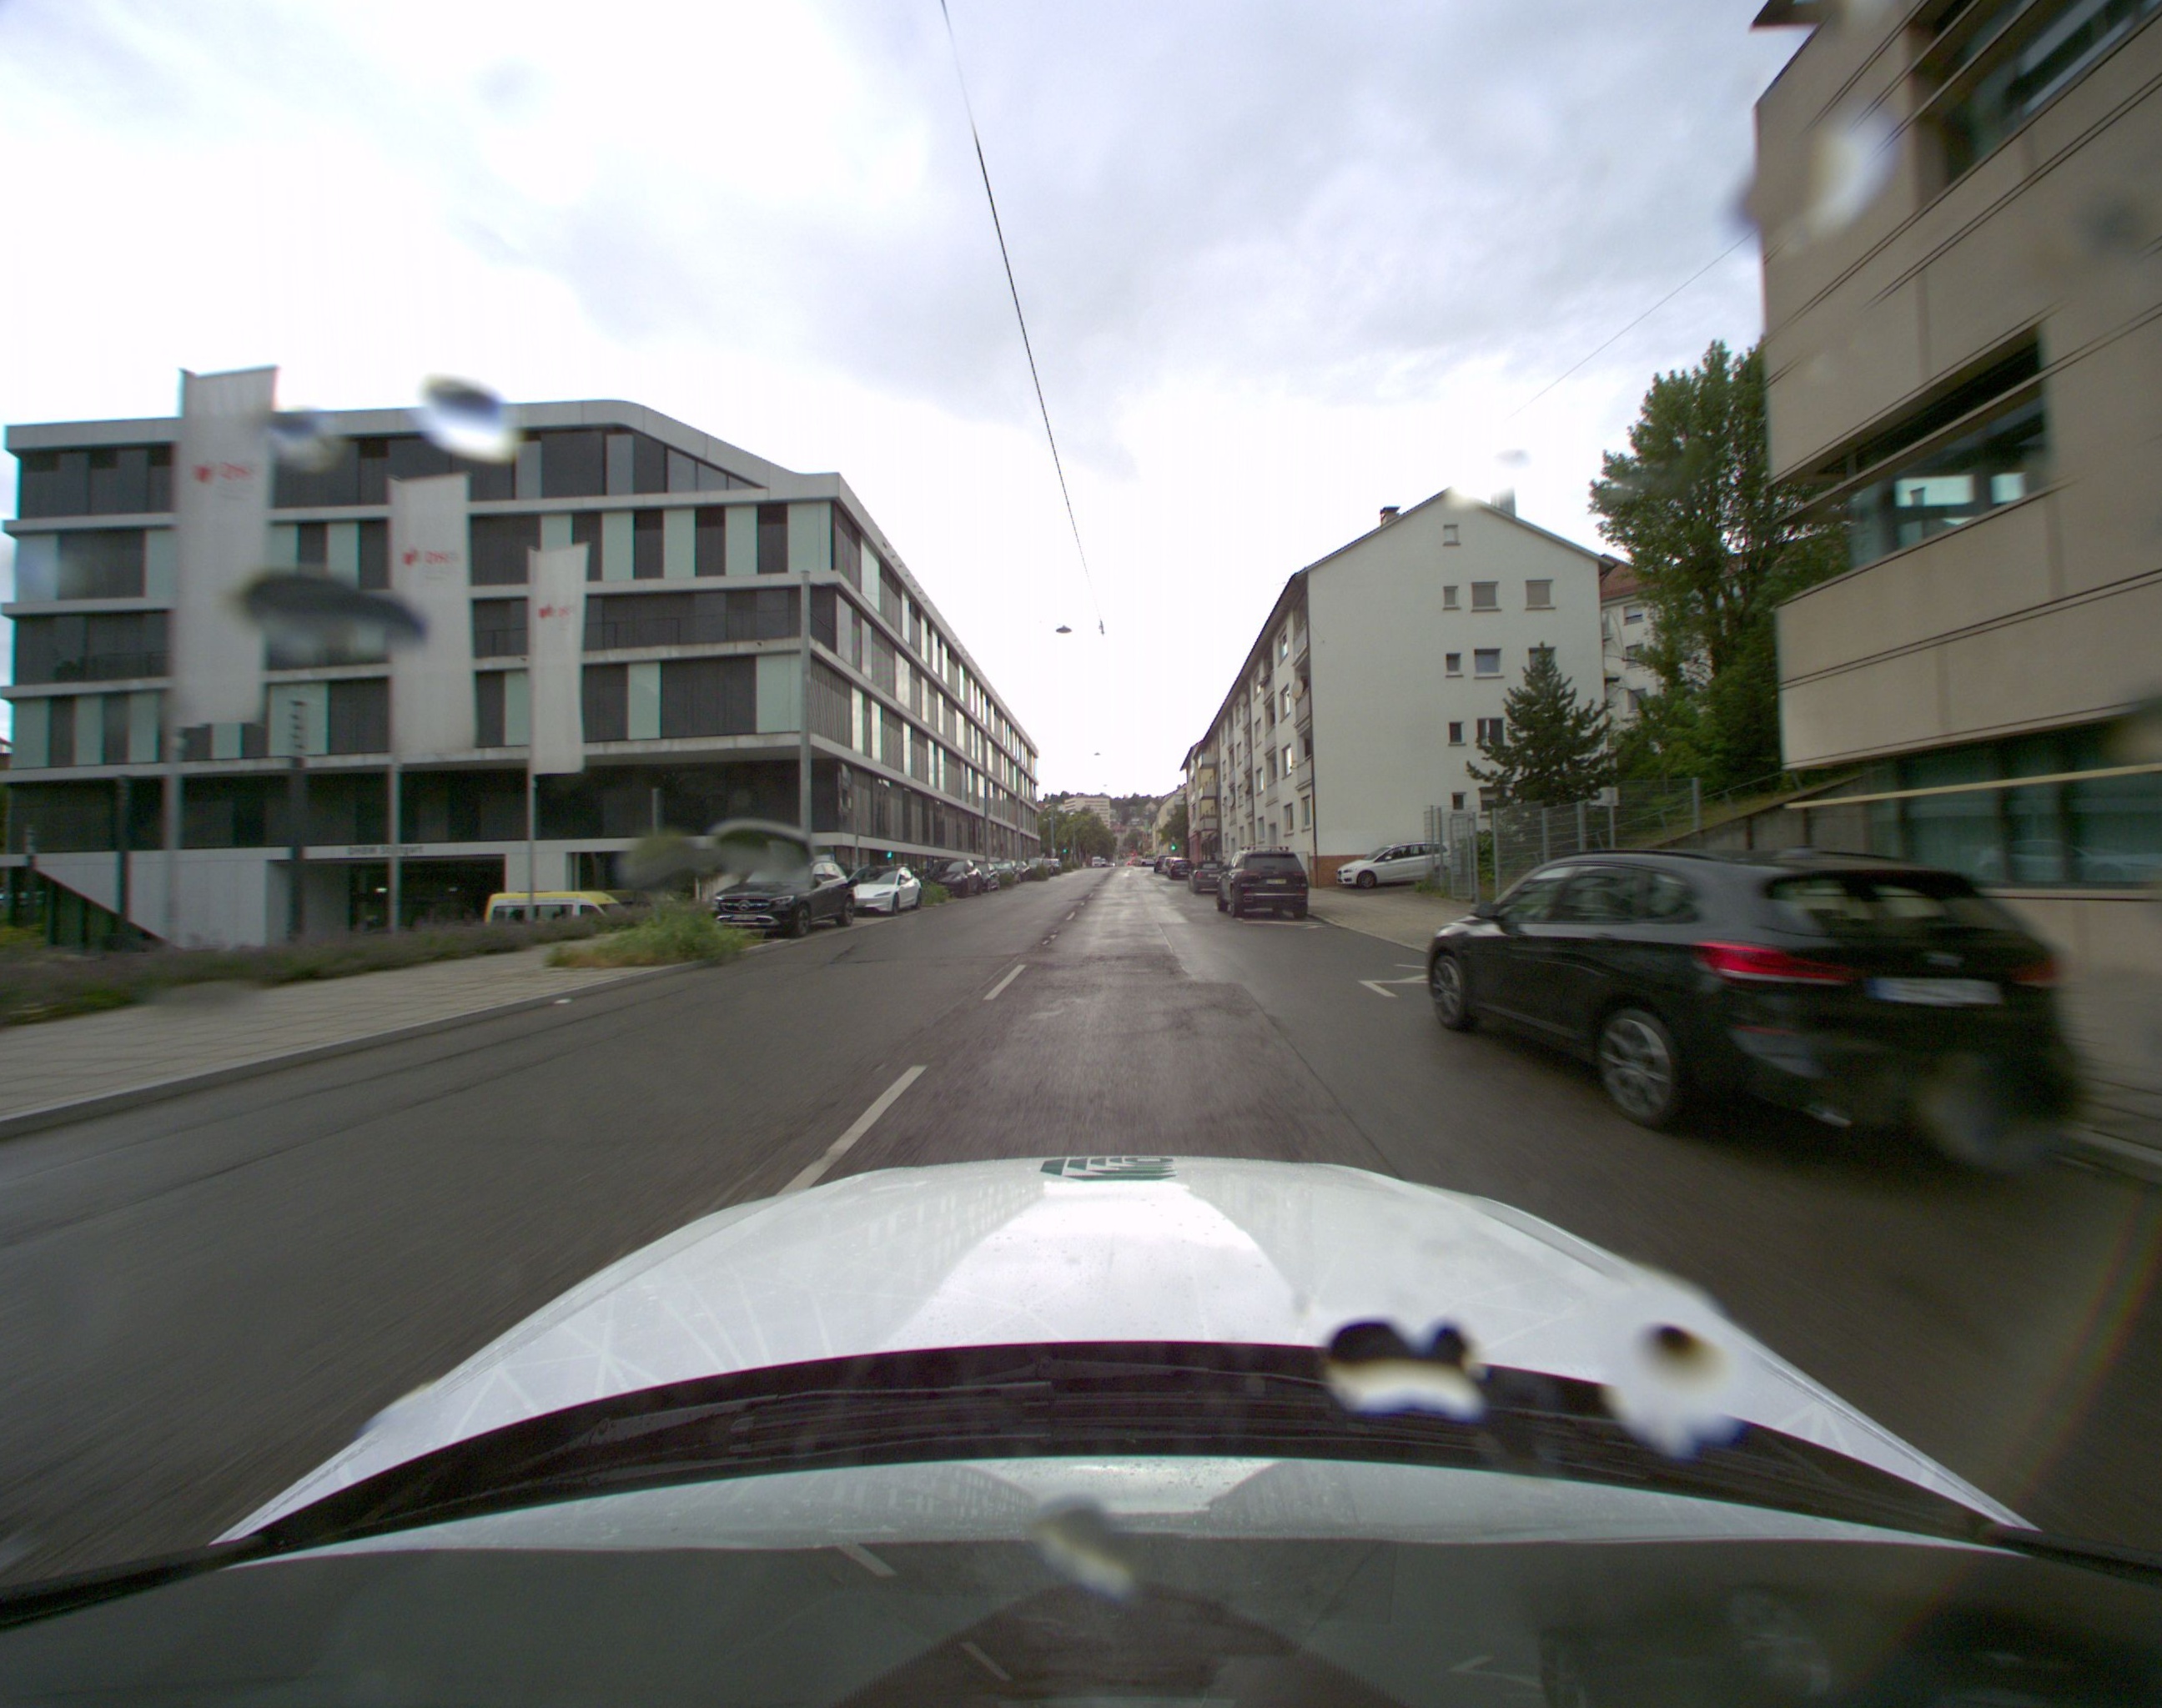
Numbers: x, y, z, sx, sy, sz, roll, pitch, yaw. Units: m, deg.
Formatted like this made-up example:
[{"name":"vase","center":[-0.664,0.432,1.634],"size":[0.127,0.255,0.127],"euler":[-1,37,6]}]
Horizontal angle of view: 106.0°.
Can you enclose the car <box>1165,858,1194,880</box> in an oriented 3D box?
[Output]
[{"name":"car","center":[6.881,1.054,57.227],"size":[1.699,1.454,3.987],"euler":[0,0,3]}]

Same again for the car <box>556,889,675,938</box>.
[{"name":"car","center":[-20.349,2.591,35.695],"size":[4.324,2.032,1.599],"euler":[0,0,2]}]

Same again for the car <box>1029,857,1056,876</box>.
[{"name":"car","center":[-3.385,1.076,72.791],"size":[1.792,1.604,4.241],"euler":[0,0,6]}]

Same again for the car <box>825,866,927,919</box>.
[{"name":"car","center":[-6.257,1.132,25.365],"size":[1.813,1.419,4.406],"euler":[0,0,3]}]

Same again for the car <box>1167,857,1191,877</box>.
[{"name":"car","center":[7.494,0.972,62.583],"size":[1.576,1.413,3.657],"euler":[0,0,3]}]

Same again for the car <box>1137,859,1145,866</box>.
[{"name":"car","center":[14.647,2.045,199.440],"size":[1.857,1.604,4.196],"euler":[0,0,6]}]

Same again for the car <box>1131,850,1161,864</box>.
[{"name":"car","center":[9.485,0.464,119.239],"size":[4.152,1.669,1.650],"euler":[-4,-5,42]}]

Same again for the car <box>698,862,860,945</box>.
[{"name":"car","center":[-6.726,1.033,18.729],"size":[1.841,1.617,4.495],"euler":[0,0,3]}]

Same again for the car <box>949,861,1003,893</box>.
[{"name":"car","center":[-5.259,1.128,41.444],"size":[1.863,1.472,4.745],"euler":[0,0,3]}]

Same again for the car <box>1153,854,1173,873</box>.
[{"name":"car","center":[7.818,0.910,77.938],"size":[1.648,1.737,4.183],"euler":[-1,1,3]}]

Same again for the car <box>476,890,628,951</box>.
[{"name":"car","center":[-20.456,2.530,31.668],"size":[4.579,2.174,1.929],"euler":[0,0,-3]}]

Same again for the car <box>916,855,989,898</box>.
[{"name":"car","center":[-5.509,0.914,35.495],"size":[1.953,1.750,4.949],"euler":[0,0,5]}]

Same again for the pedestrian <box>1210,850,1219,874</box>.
[{"name":"pedestrian","center":[10.363,0.601,63.213],"size":[0.636,1.870,0.539],"euler":[0,0,5]}]

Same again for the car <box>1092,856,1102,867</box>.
[{"name":"car","center":[3.639,1.648,185.478],"size":[2.097,2.546,4.751],"euler":[0,0,1]}]

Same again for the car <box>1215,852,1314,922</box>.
[{"name":"car","center":[5.031,0.827,22.978],"size":[1.927,1.750,4.800],"euler":[0,0,3]}]

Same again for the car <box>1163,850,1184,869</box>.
[{"name":"car","center":[8.067,0.469,71.320],"size":[1.628,1.571,3.714],"euler":[0,0,3]}]

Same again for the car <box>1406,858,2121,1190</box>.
[{"name":"car","center":[4.061,0.804,5.982],"size":[1.736,1.533,4.321],"euler":[0,0,2]}]

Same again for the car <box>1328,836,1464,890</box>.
[{"name":"car","center":[12.000,0.340,31.257],"size":[4.421,1.712,1.906],"euler":[-4,0,2]}]

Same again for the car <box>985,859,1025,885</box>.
[{"name":"car","center":[-4.704,1.080,50.784],"size":[1.855,1.489,4.350],"euler":[0,0,3]}]

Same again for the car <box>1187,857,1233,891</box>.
[{"name":"car","center":[5.898,0.875,37.596],"size":[1.666,1.459,3.767],"euler":[-1,0,3]}]

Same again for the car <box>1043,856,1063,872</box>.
[{"name":"car","center":[-2.891,1.008,83.718],"size":[1.588,1.459,3.724],"euler":[0,1,5]}]

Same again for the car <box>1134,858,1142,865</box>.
[{"name":"car","center":[14.475,1.931,207.633],"size":[1.857,1.604,4.196],"euler":[0,0,6]}]

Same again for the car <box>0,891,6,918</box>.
[{"name":"car","center":[-62.645,2.952,46.015],"size":[1.449,1.494,3.597],"euler":[-1,1,-38]}]

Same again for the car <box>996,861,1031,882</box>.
[{"name":"car","center":[-4.673,1.212,57.138],"size":[1.830,1.396,4.396],"euler":[0,0,3]}]
